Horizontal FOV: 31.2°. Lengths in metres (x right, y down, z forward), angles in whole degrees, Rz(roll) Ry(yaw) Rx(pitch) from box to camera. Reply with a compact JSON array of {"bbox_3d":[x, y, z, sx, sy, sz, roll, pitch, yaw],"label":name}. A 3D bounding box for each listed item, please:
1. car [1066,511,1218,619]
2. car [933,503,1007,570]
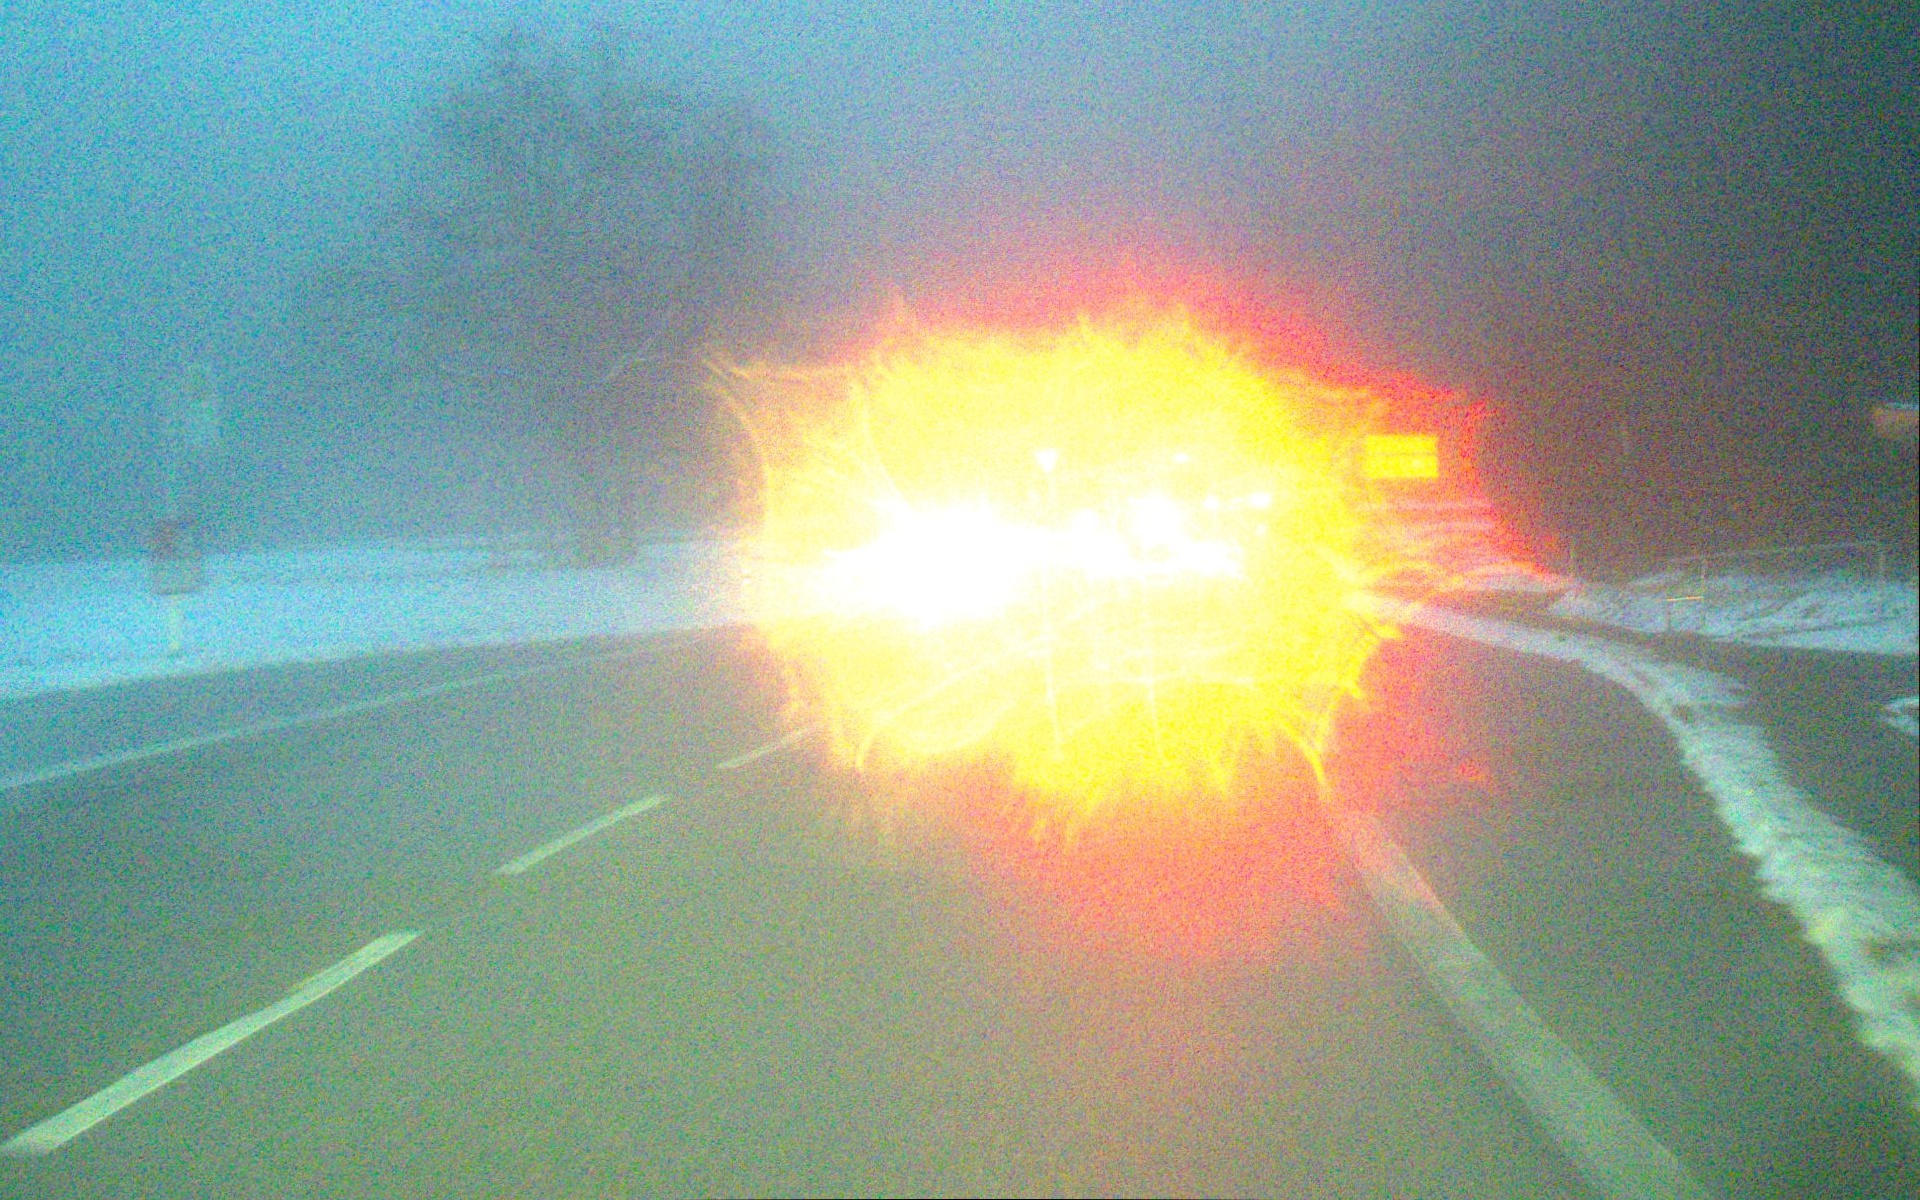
[{"bbox_3d":[2.394,-0.492,45.599,1.922,1.272,4.000,0,3,3],"label":"car"},{"bbox_3d":[0.245,-1.707,90.908,1.752,1.687,4.427,-1,2,-2],"label":"car"}]
